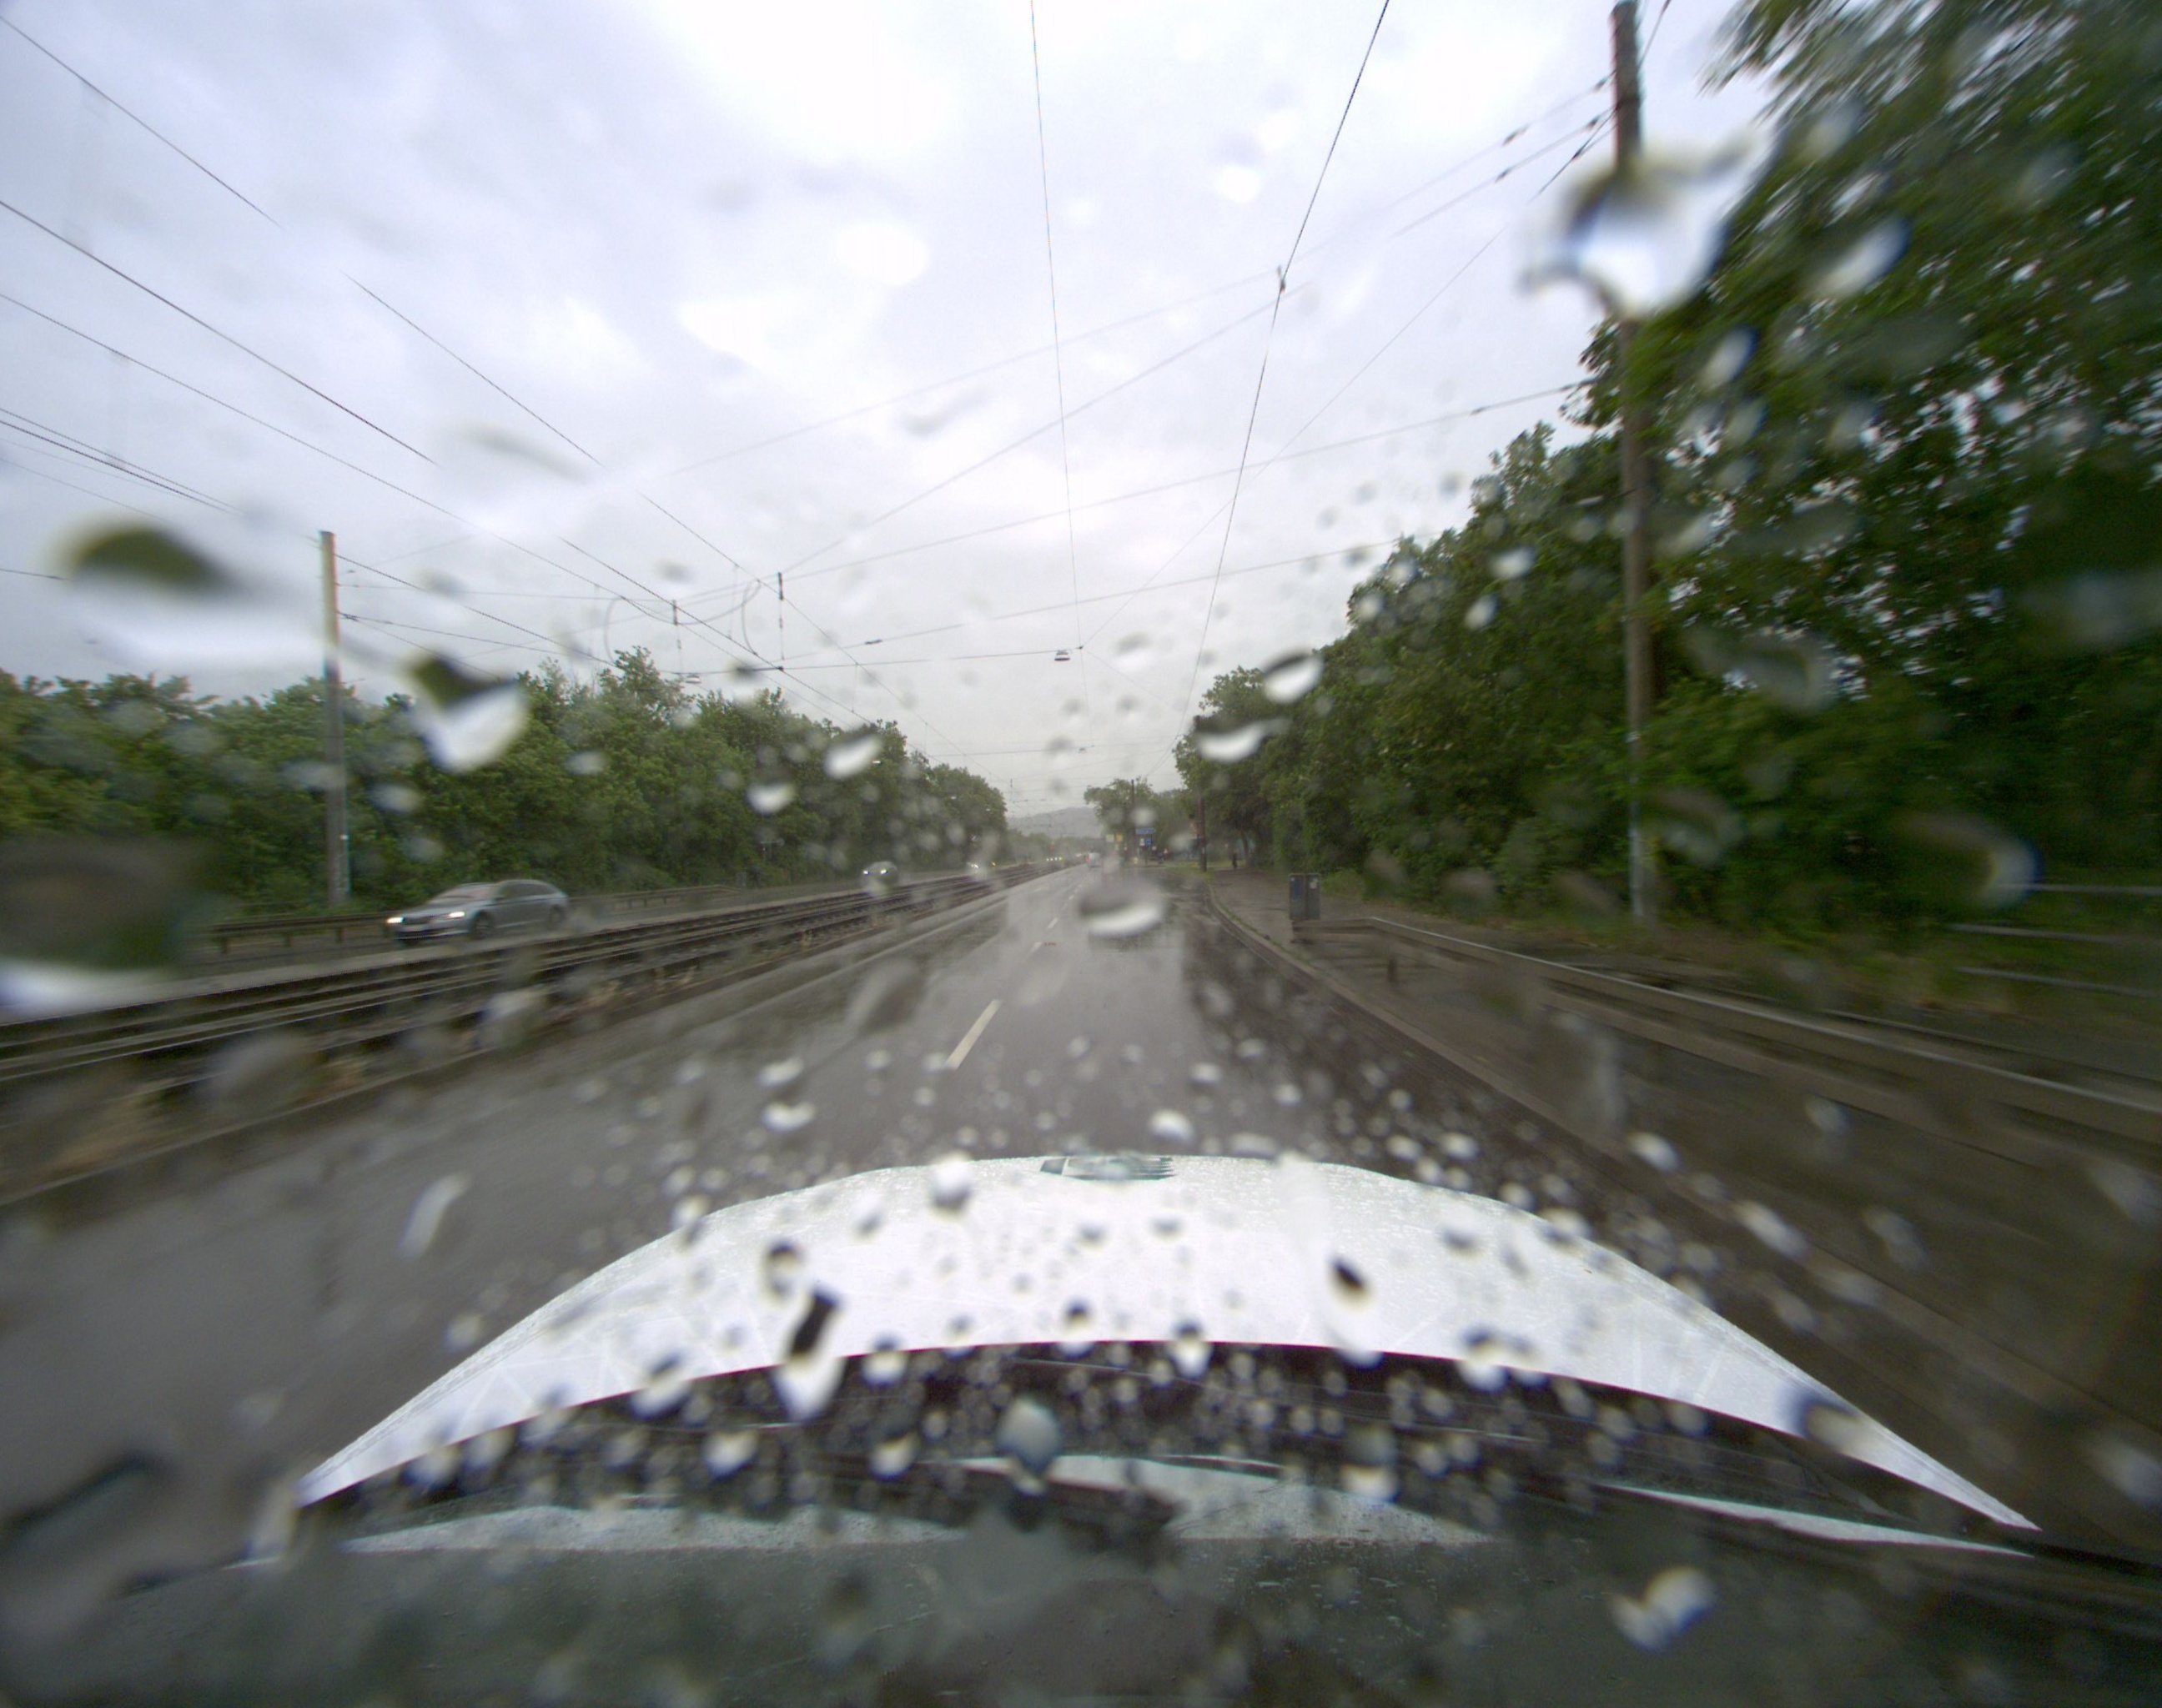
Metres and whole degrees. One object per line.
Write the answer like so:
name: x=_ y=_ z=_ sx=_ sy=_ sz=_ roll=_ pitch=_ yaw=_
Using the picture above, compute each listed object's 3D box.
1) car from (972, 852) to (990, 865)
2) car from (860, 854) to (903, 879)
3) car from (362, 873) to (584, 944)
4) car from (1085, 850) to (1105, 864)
car: x=-14.740 y=0.702 z=120.470 sx=1.987 sy=1.782 sz=4.001 roll=3 pitch=1 yaw=1
car: x=-15.055 y=0.930 z=61.722 sx=1.987 sy=1.672 sz=4.872 roll=-2 pitch=1 yaw=0
car: x=-15.362 y=1.293 z=21.016 sx=1.987 sy=1.388 sz=4.853 roll=-2 pitch=1 yaw=0
car: x=1.553 y=0.346 z=90.339 sx=2.070 sy=1.420 sz=4.001 roll=-3 pitch=0 yaw=1
